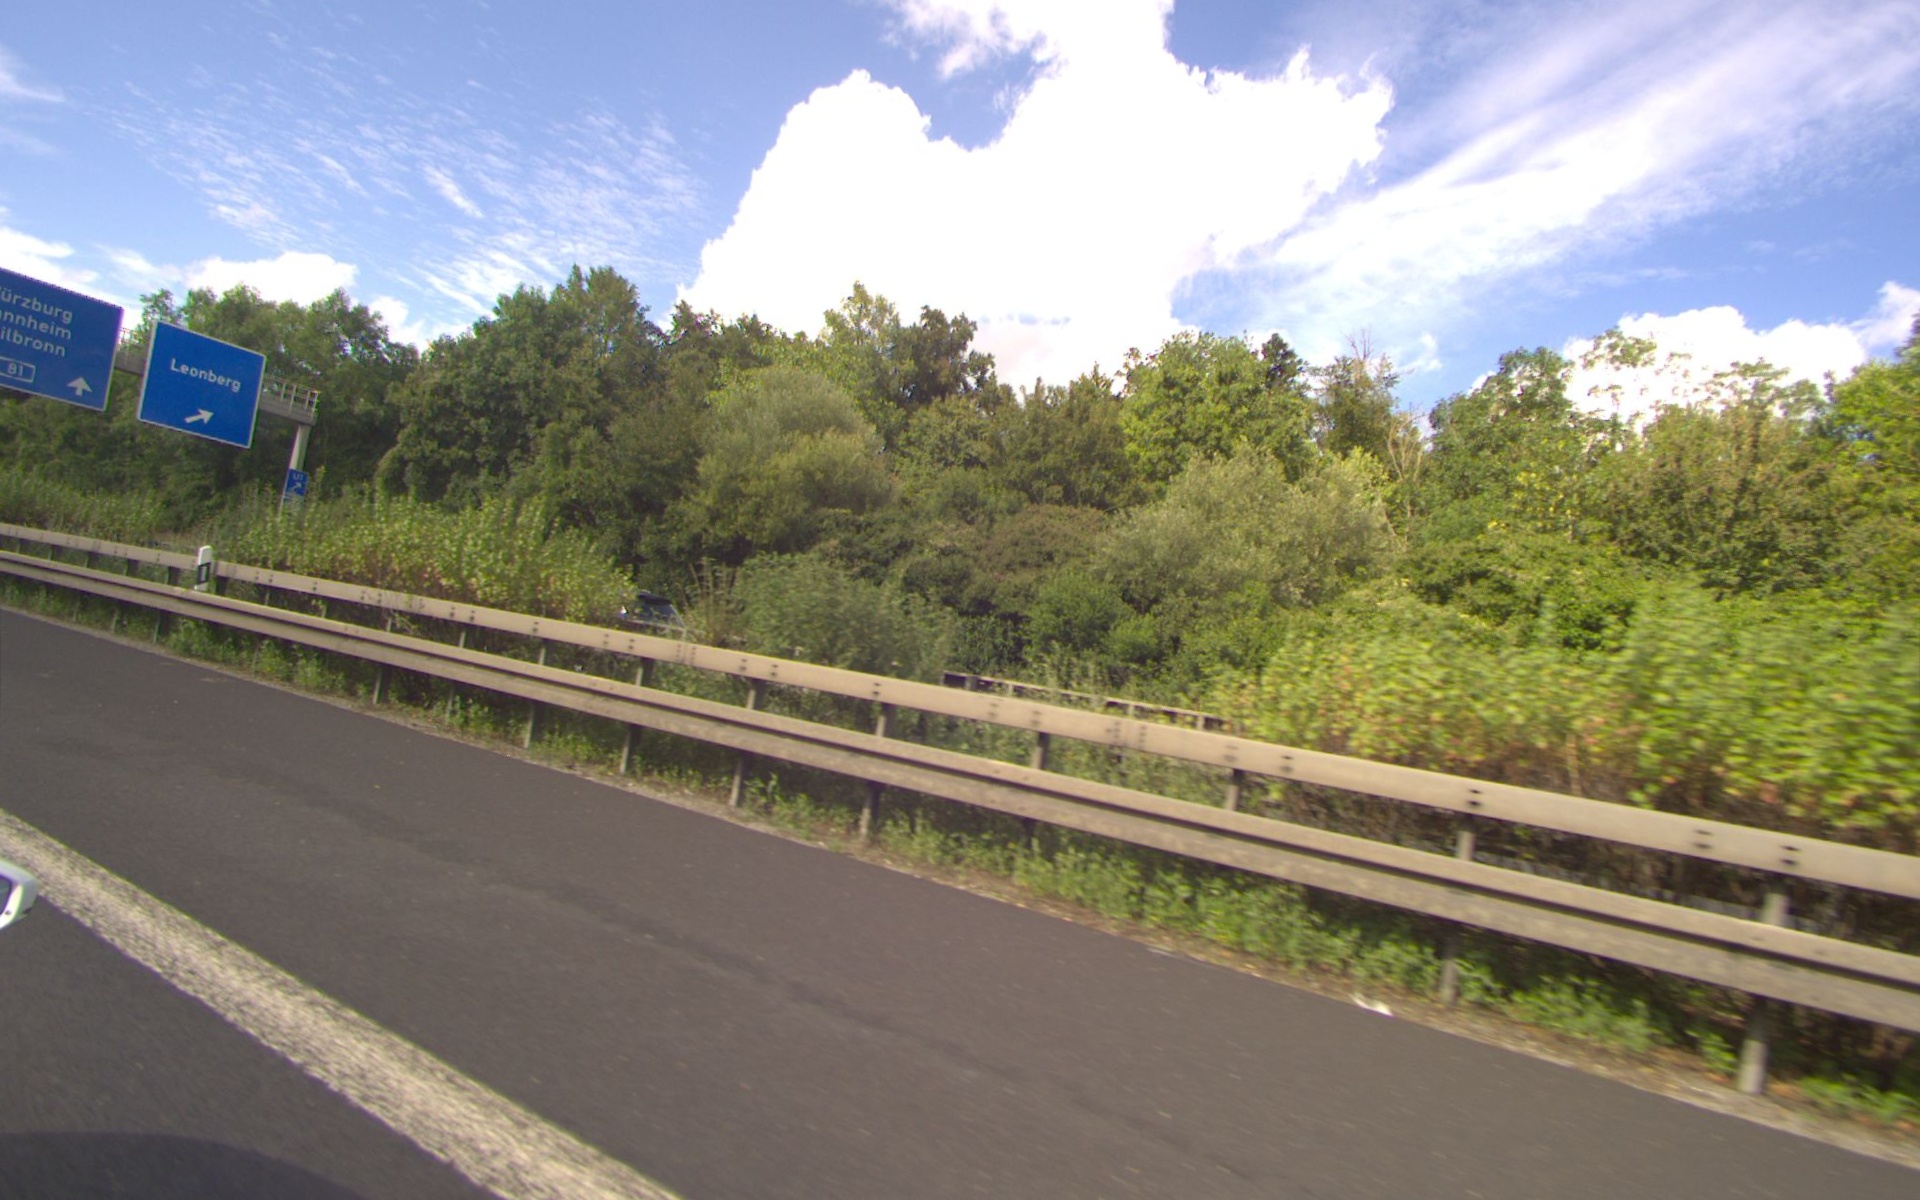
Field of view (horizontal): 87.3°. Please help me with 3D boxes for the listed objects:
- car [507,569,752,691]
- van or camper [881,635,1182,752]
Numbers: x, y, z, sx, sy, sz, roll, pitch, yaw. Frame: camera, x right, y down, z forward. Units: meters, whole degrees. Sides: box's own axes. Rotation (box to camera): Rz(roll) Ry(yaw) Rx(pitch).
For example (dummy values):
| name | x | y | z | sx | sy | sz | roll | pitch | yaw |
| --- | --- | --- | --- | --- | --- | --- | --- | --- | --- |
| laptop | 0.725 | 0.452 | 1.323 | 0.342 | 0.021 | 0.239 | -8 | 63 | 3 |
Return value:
| name | x | y | z | sx | sy | sz | roll | pitch | yaw |
| --- | --- | --- | --- | --- | --- | --- | --- | --- | --- |
| car | -5.749 | 0.498 | 17.411 | 3.934 | 1.527 | 1.771 | 7 | -2 | 32 |
| van or camper | 1.428 | 1.951 | 21.776 | 6.248 | 1.527 | 1.771 | 7 | -2 | 31 |
